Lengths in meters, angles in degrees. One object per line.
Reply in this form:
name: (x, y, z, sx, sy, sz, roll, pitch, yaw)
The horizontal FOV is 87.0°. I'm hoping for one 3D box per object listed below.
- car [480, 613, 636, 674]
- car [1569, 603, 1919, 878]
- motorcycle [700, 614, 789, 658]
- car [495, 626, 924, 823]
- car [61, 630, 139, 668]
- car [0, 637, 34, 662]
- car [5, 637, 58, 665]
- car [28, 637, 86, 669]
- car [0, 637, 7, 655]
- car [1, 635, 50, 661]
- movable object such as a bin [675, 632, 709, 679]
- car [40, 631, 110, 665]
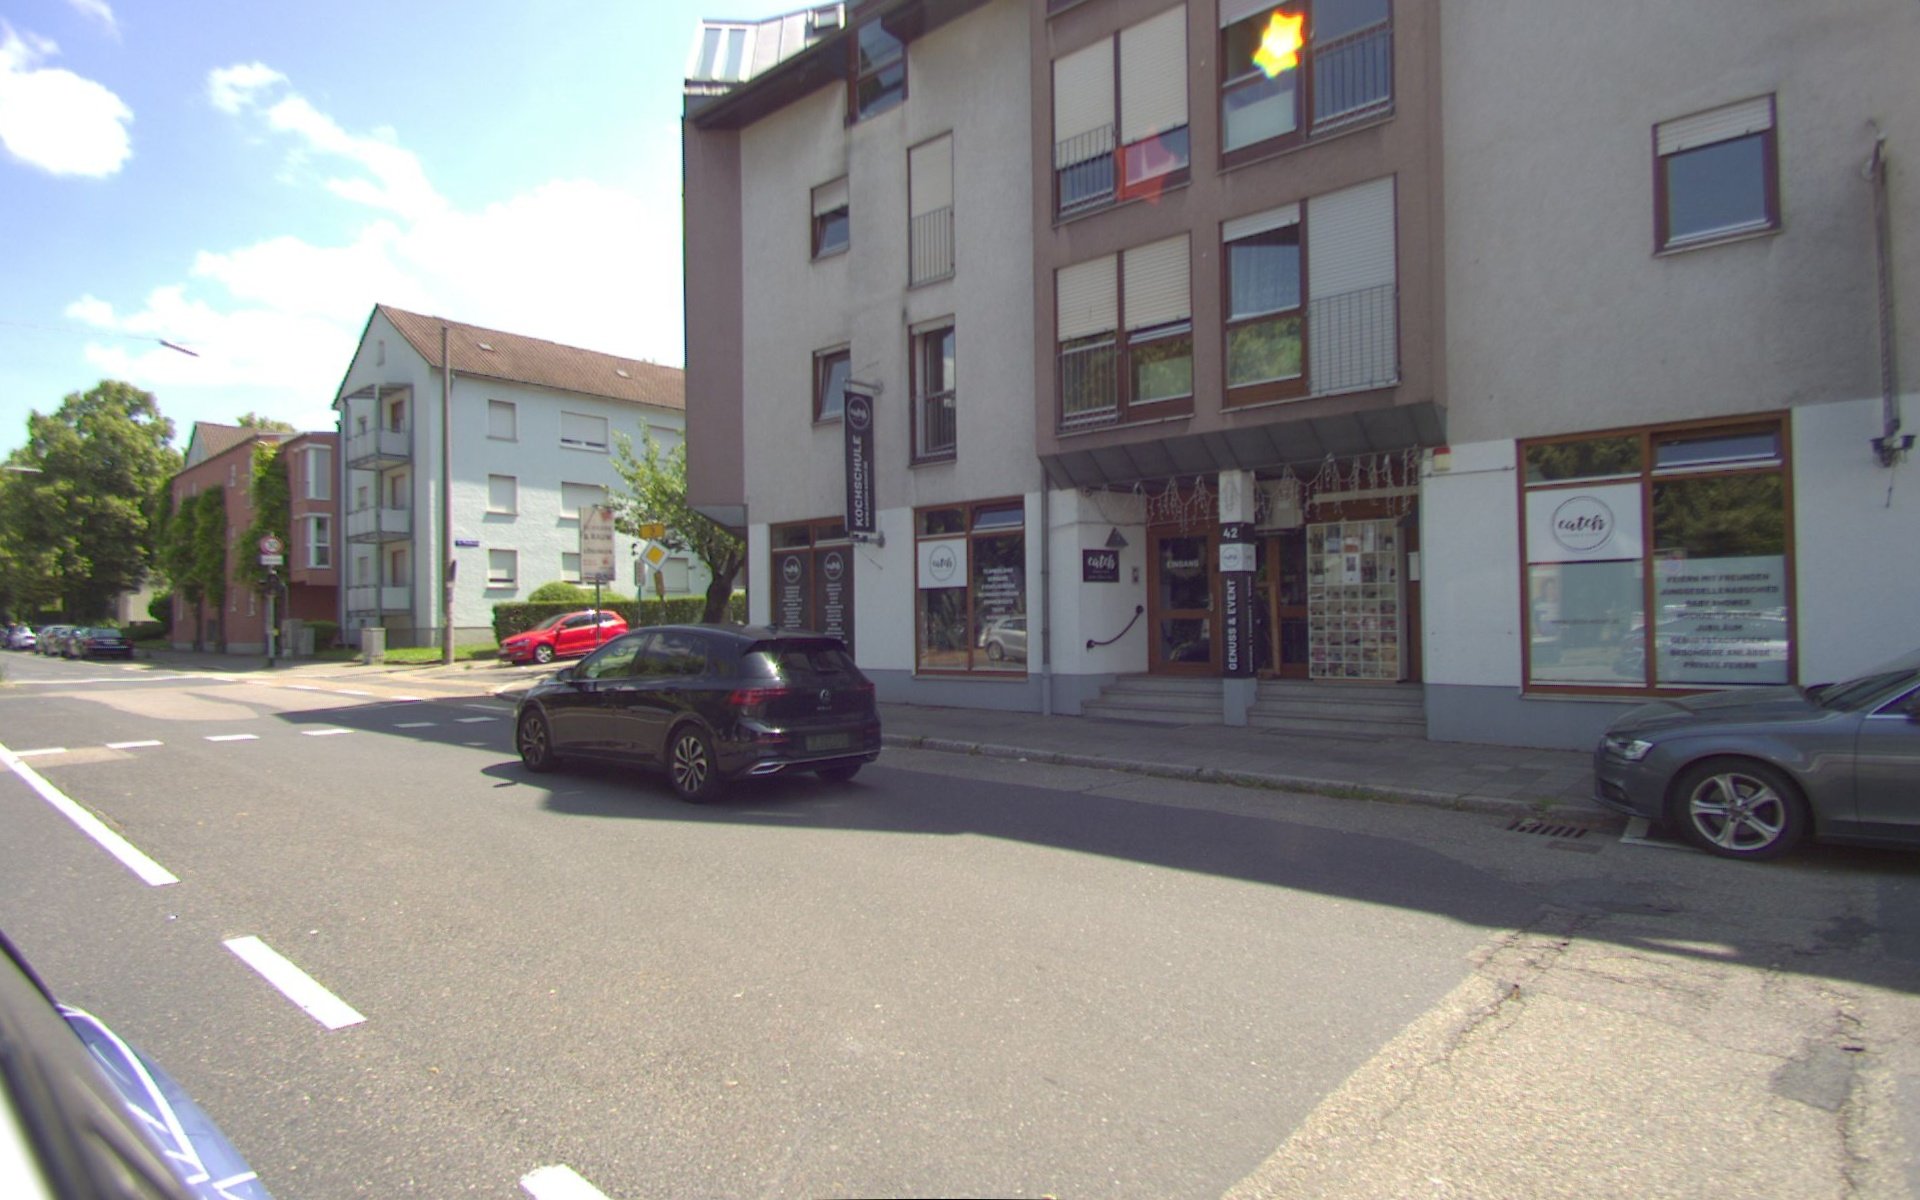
car: (-12.055, 1.290, 30.544, 1.731, 1.462, 3.948, -4, 1, 40)
car: (6.498, 0.763, 5.702, 4.969, 1.458, 1.820, -2, 1, 43)
motorcycle: (-6.348, 1.066, 29.791, 2.372, 1.042, 0.922, -6, -1, 22)
car: (-2.471, 0.986, 9.418, 4.219, 1.430, 1.725, -2, -3, 40)
car: (-37.956, 2.134, 44.615, 4.564, 1.551, 1.867, -2, -2, 40)
car: (-61.126, 3.149, 65.310, 3.997, 1.519, 1.552, -2, -1, 40)
car: (-52.600, 2.860, 57.325, 3.997, 1.453, 1.730, -2, -1, 40)
car: (-47.243, 2.741, 52.932, 3.997, 1.519, 1.730, -2, -1, 40)
car: (-74.243, 3.501, 77.303, 3.605, 1.343, 1.735, -2, -1, 40)
car: (-57.204, 2.913, 61.963, 3.997, 1.519, 1.730, -2, -1, 40)
movable object such as a bin: (-6.411, 1.319, 24.233, 0.624, 1.105, 0.673, -1, -2, 1)
car: (-42.724, 2.300, 48.816, 4.564, 1.551, 1.867, -2, -2, 40)
